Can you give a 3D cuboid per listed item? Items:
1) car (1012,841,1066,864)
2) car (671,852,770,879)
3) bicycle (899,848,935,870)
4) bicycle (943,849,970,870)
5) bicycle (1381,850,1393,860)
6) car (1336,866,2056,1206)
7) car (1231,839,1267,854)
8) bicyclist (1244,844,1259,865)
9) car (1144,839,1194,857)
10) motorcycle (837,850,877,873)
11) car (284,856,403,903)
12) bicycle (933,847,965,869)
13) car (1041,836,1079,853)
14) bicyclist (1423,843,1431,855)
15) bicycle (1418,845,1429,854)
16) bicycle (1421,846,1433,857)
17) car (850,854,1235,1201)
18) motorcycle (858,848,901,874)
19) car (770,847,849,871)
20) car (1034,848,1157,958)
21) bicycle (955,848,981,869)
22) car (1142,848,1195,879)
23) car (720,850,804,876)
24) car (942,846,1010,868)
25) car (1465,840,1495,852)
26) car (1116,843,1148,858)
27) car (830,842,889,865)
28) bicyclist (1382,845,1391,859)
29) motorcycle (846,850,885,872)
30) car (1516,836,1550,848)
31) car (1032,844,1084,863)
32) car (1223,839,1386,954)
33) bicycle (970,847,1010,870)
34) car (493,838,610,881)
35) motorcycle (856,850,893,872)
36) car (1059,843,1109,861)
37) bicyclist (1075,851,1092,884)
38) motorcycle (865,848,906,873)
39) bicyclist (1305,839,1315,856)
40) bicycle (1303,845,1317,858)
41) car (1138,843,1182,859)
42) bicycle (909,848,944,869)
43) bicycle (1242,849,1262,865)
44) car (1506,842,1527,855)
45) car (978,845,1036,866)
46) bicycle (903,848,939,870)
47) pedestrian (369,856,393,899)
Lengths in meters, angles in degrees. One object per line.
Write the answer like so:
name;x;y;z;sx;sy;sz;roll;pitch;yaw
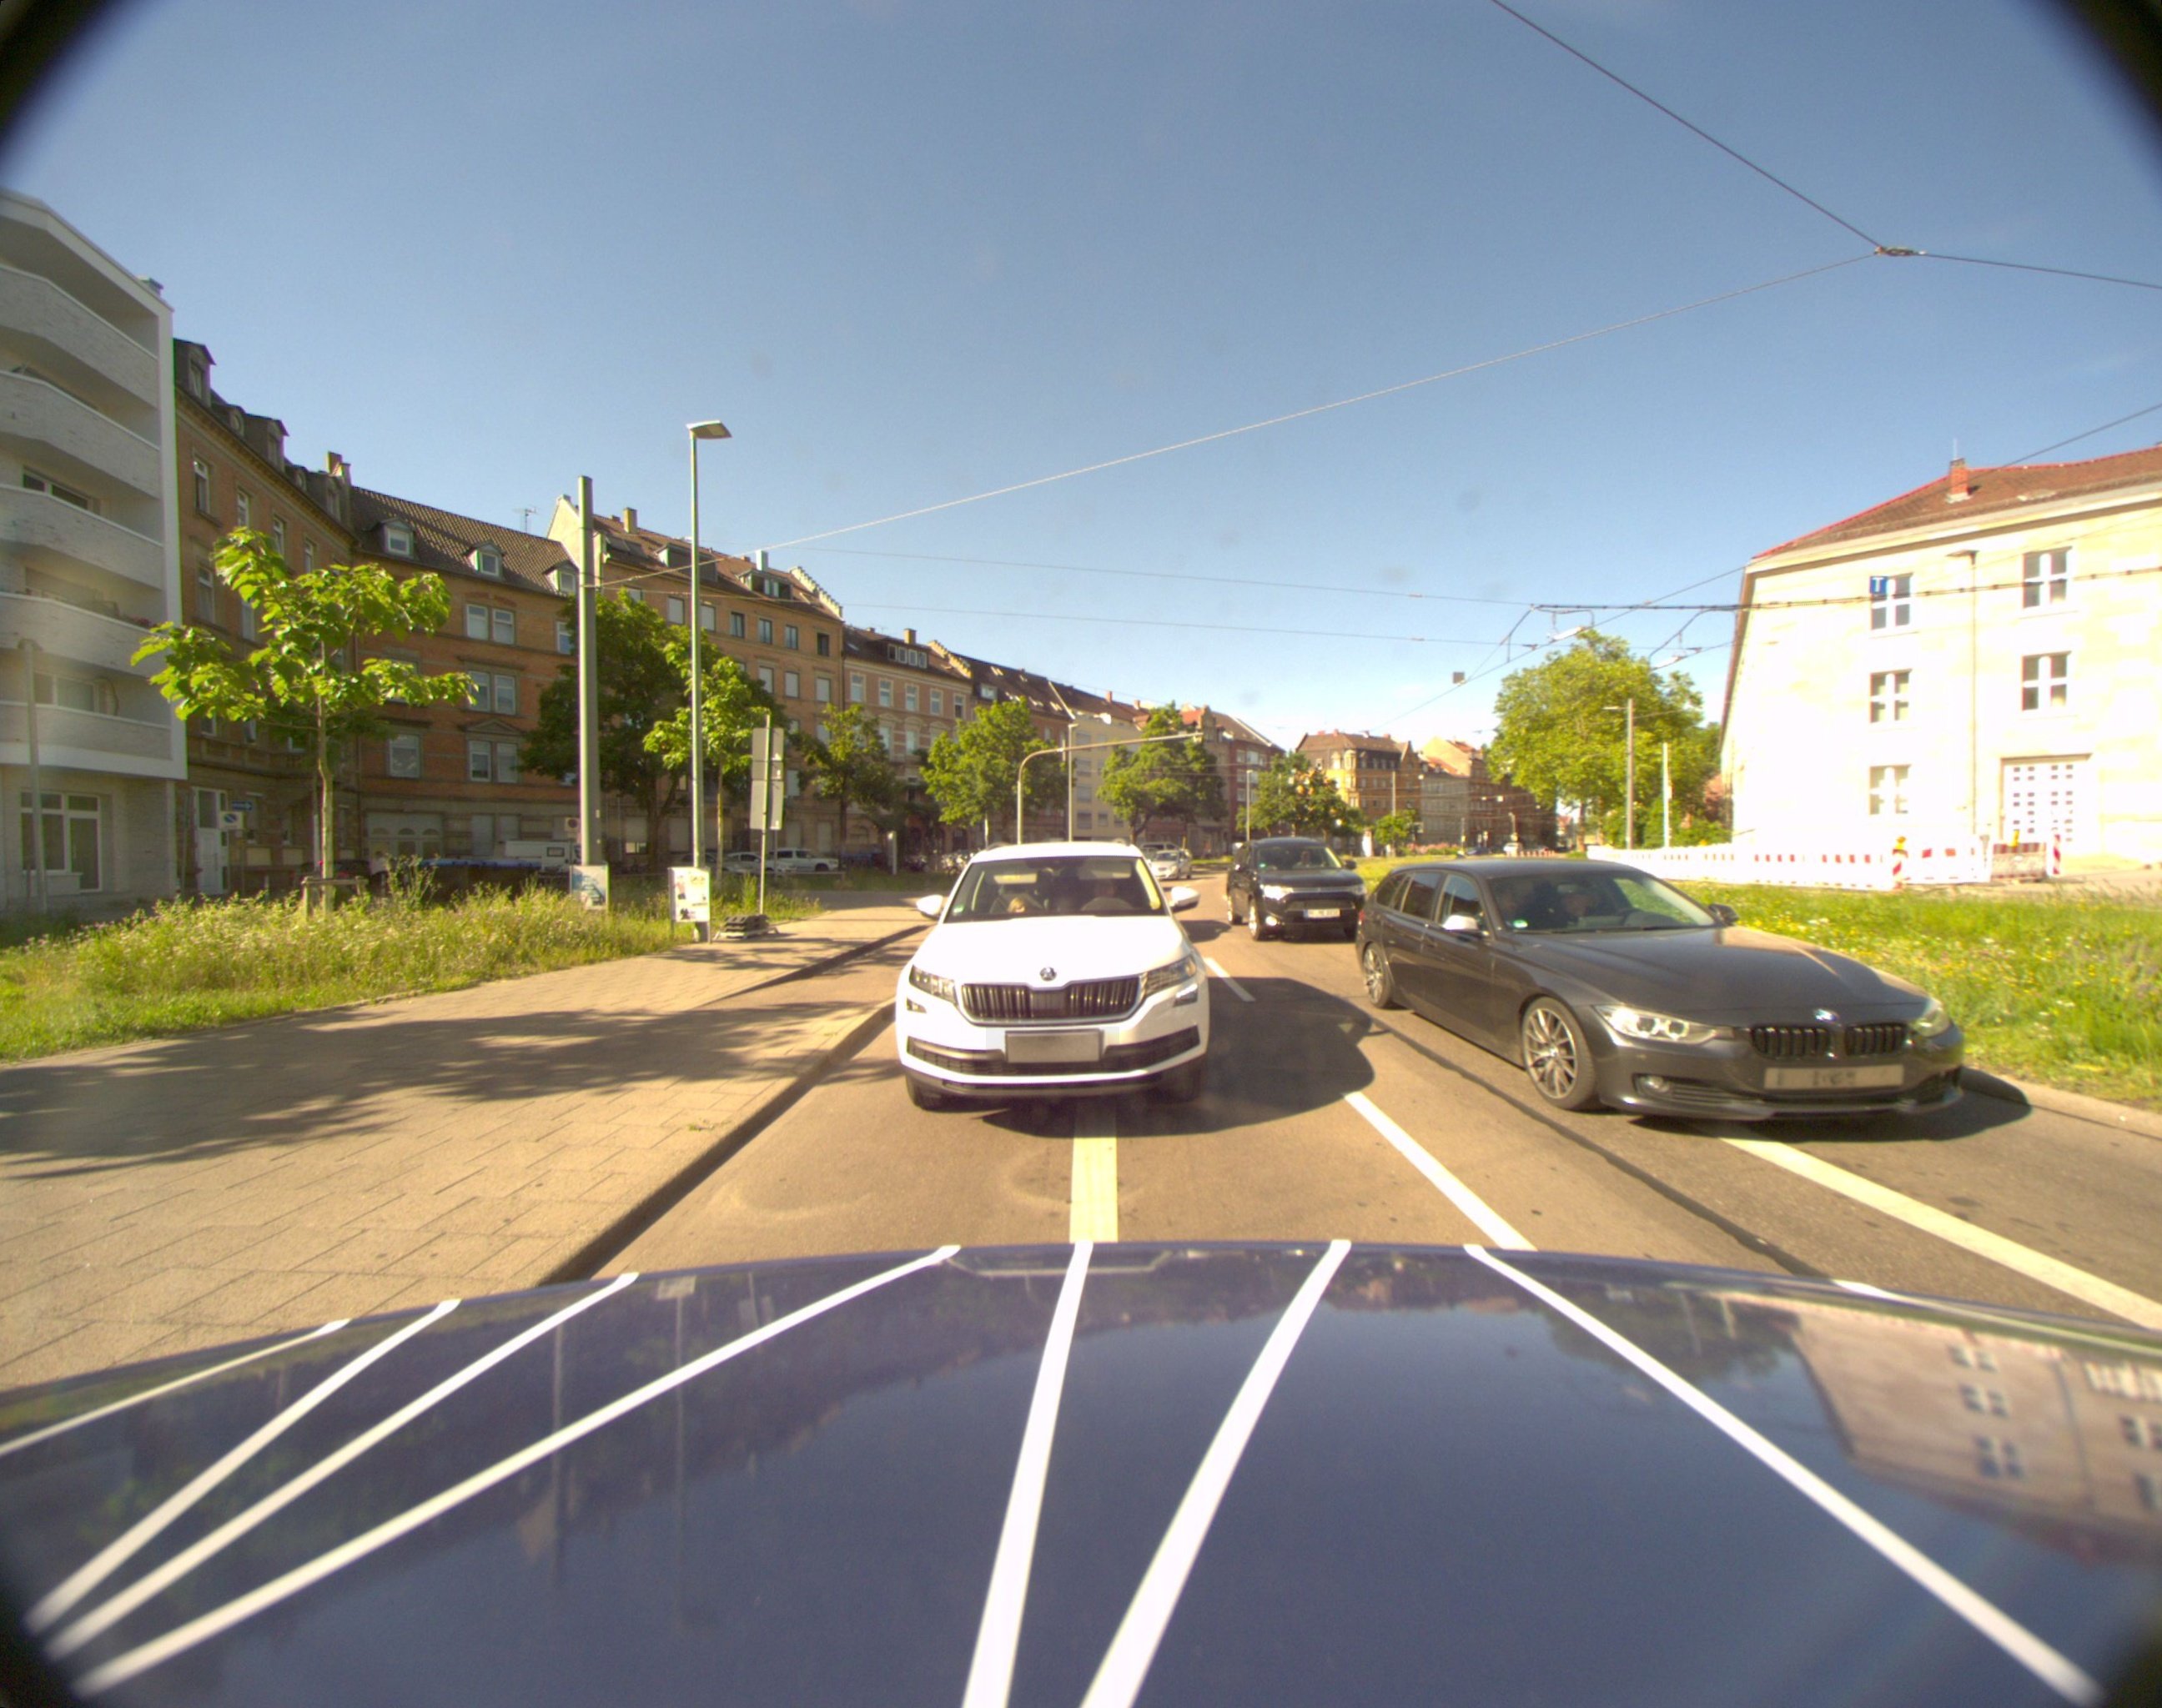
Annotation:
car;-3.100;-0.133;56.110;3.825;1.698;1.682;0;1;3
car;-17.493;0.538;36.913;4.156;1.244;1.683;0;1;13
bicycle;-9.735;0.310;45.076;2.198;1.260;0.664;-2;1;30
bicycle;-7.678;0.344;46.766;0.664;1.260;2.199;-3;1;-36
bicycle;36.413;0.081;90.428;0.667;1.190;2.159;0;1;42
car;3.484;0.848;5.600;1.741;1.359;4.426;-2;0;1
car;18.703;-0.817;84.664;3.823;1.581;1.600;0;1;6
bicyclist;14.349;0.020;63.795;1.096;1.715;0.714;0;1;-42
car;8.206;-0.585;70.614;4.578;1.658;1.600;0;1;7
motorcycle;-13.282;0.443;45.026;2.314;1.270;0.664;-2;1;24
car;-26.162;0.833;27.155;1.835;1.419;4.378;-1;1;-27
bicycle;-7.722;0.244;44.524;0.664;1.260;2.198;-3;1;-45
car;-1.931;-0.937;71.671;1.547;1.578;3.607;1;2;41
bicyclist;46.130;-0.682;101.312;0.734;1.685;0.973;0;1;44
bicycle;46.731;-0.645;103.598;0.762;1.138;2.287;0;1;38
bicycle;46.128;-0.335;101.329;0.735;1.353;2.079;0;1;44
car;-0.222;0.854;5.955;1.842;1.636;4.397;-2;0;-1
motorcycle;-11.171;0.378;42.213;2.200;1.322;0.663;-2;1;13
car;-14.674;0.260;41.201;3.700;1.244;1.540;0;1;2
car;0.258;0.759;13.951;1.842;1.636;4.397;-2;0;1
bicycle;-7.115;0.312;47.760;0.664;1.260;2.199;-3;1;-36
car;4.719;0.467;40.561;1.836;1.543;4.154;0;1;21
car;-16.400;0.444;39.112;3.696;1.244;1.683;0;1;13
car;-7.035;0.179;51.301;4.322;1.398;1.682;0;1;3
car;61.450;-1.234;117.113;4.355;1.871;1.836;-1;2;-26
car;5.477;-0.417;80.733;1.547;1.578;3.607;1;2;41
car;-15.603;-0.051;53.677;1.547;1.578;3.709;1;2;41
bicyclist;36.370;-0.261;90.357;0.667;1.619;0.973;0;1;42
motorcycle;-12.933;0.419;45.631;2.314;1.276;0.664;-2;1;24
car;64.172;-1.691;107.863;4.058;1.647;1.770;1;2;34
car;-1.768;-0.050;58.718;3.823;1.398;1.600;0;1;6
car;3.703;0.625;13.404;1.841;1.636;4.399;-2;0;5
bicycle;-5.468;0.271;45.745;2.207;1.260;0.662;-3;1;-25
car;-27.111;0.222;39.017;2.047;2.026;4.510;1;2;41
motorcycle;-12.595;0.406;46.410;2.199;1.260;0.664;-2;1;24
car;0.268;-0.156;61.170;3.823;1.398;1.600;0;1;6
bicyclist;0.138;0.590;34.032;0.668;1.428;0.940;-1;1;5
motorcycle;-11.141;0.361;43.300;2.200;1.315;0.664;-2;1;18
bicyclist;22.107;-0.674;73.420;0.629;1.619;0.973;0;1;36
bicycle;22.095;-0.249;73.425;0.636;1.190;2.158;0;1;35
car;7.134;-0.245;68.185;3.823;1.372;1.600;0;1;9
bicycle;-9.503;0.283;46.718;2.198;1.260;0.664;-2;1;32
bicycle;14.369;0.282;63.841;1.752;1.319;0.714;0;1;-42
car;72.518;-0.909;126.501;1.977;2.074;4.723;1;2;44
car;-5.219;0.091;53.971;3.822;1.398;1.683;0;1;9
bicycle;-9.699;0.299;46.015;2.198;1.260;0.664;-2;1;32
pedestrian;-24.543;0.813;26.638;0.509;1.448;0.481;-3;2;-38
